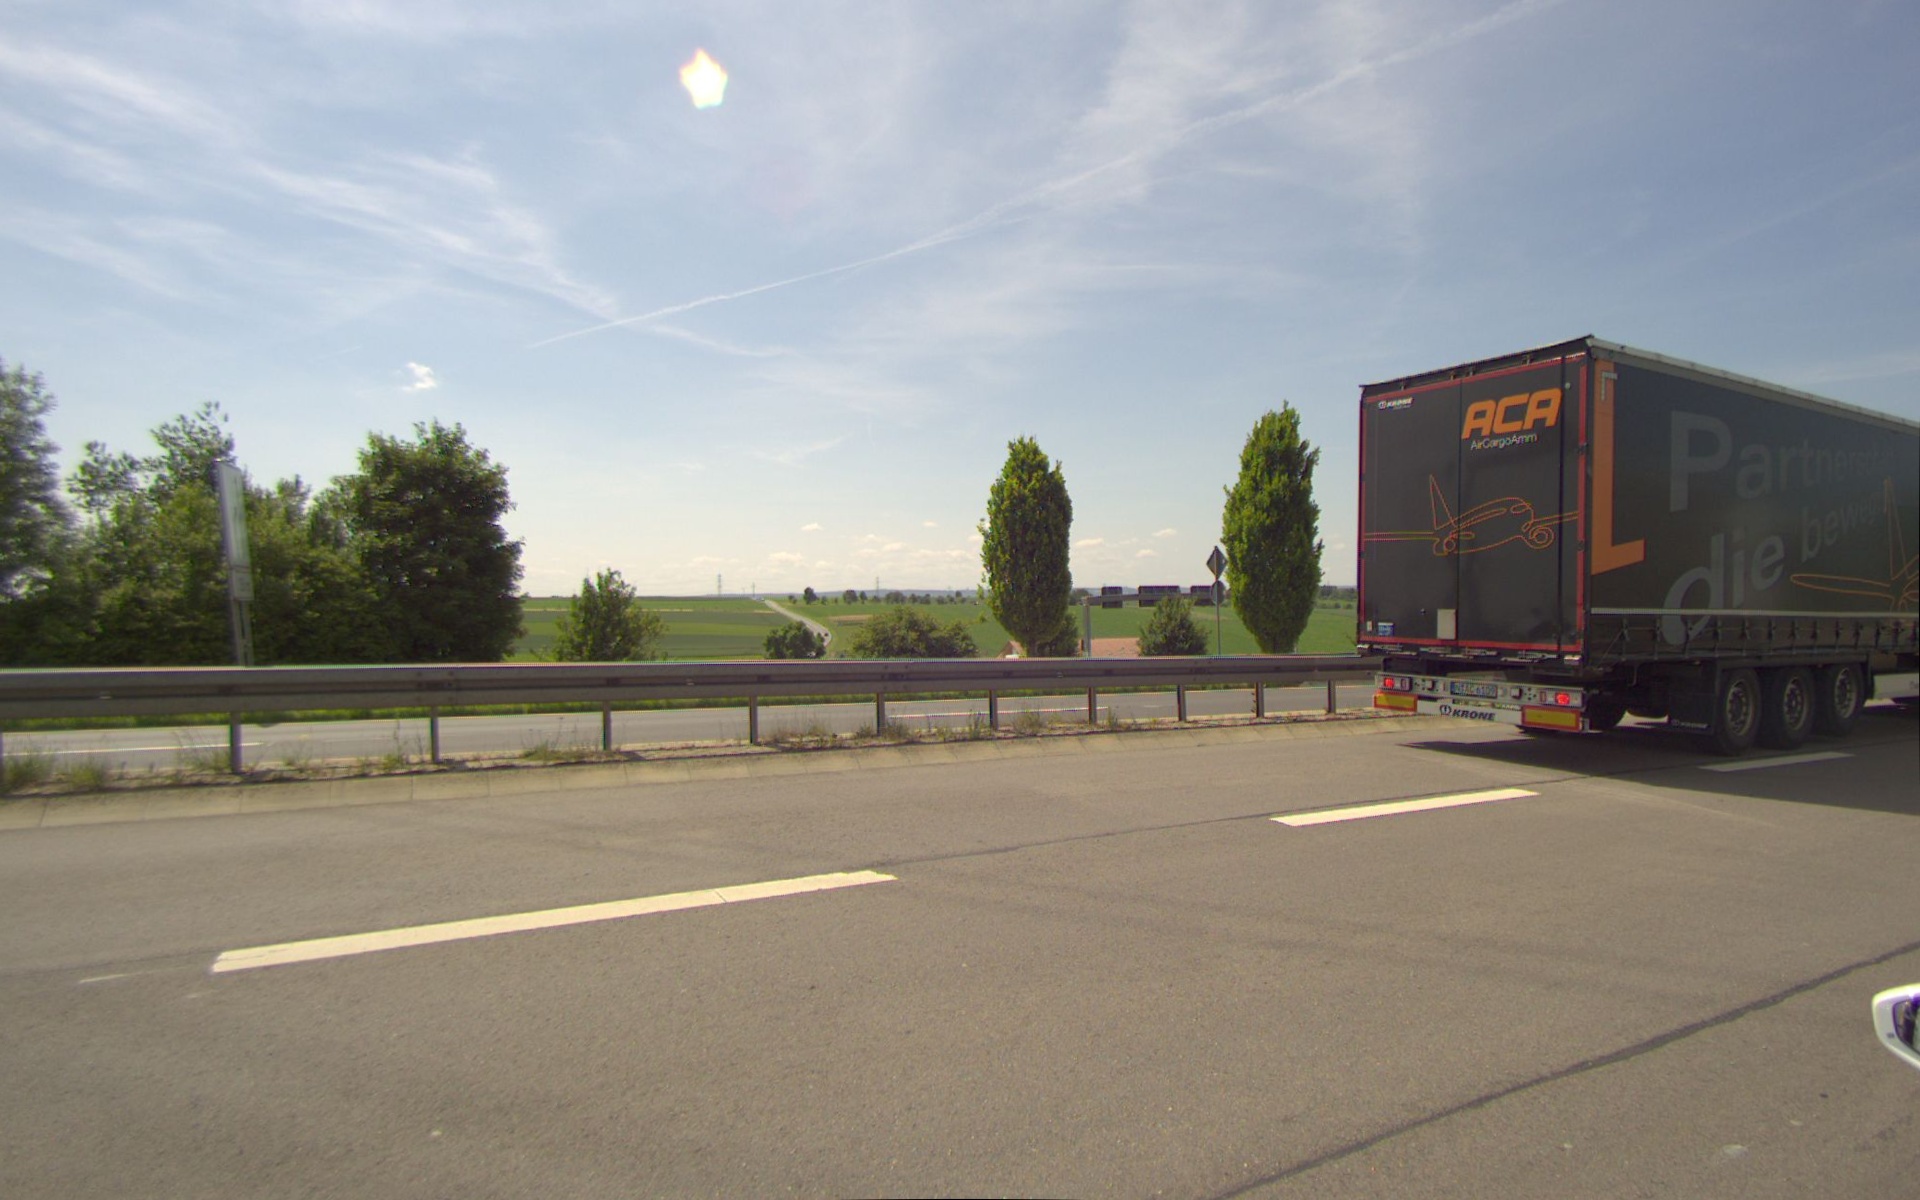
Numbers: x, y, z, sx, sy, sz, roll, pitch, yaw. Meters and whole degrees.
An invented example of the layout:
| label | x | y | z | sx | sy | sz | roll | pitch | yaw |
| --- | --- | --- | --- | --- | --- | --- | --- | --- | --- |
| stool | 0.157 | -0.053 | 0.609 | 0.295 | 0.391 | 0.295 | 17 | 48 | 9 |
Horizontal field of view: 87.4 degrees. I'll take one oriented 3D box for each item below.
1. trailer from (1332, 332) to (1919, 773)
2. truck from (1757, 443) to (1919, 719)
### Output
| label | x | y | z | sx | sy | sz | roll | pitch | yaw |
| --- | --- | --- | --- | --- | --- | --- | --- | --- | --- |
| trailer | 10.874 | -0.292 | 13.648 | 13.621 | 3.966 | 2.770 | 1 | 0 | -30 |
| truck | 16.429 | -0.227 | 16.830 | 5.899 | 4.067 | 2.770 | 1 | 0 | -30 |
